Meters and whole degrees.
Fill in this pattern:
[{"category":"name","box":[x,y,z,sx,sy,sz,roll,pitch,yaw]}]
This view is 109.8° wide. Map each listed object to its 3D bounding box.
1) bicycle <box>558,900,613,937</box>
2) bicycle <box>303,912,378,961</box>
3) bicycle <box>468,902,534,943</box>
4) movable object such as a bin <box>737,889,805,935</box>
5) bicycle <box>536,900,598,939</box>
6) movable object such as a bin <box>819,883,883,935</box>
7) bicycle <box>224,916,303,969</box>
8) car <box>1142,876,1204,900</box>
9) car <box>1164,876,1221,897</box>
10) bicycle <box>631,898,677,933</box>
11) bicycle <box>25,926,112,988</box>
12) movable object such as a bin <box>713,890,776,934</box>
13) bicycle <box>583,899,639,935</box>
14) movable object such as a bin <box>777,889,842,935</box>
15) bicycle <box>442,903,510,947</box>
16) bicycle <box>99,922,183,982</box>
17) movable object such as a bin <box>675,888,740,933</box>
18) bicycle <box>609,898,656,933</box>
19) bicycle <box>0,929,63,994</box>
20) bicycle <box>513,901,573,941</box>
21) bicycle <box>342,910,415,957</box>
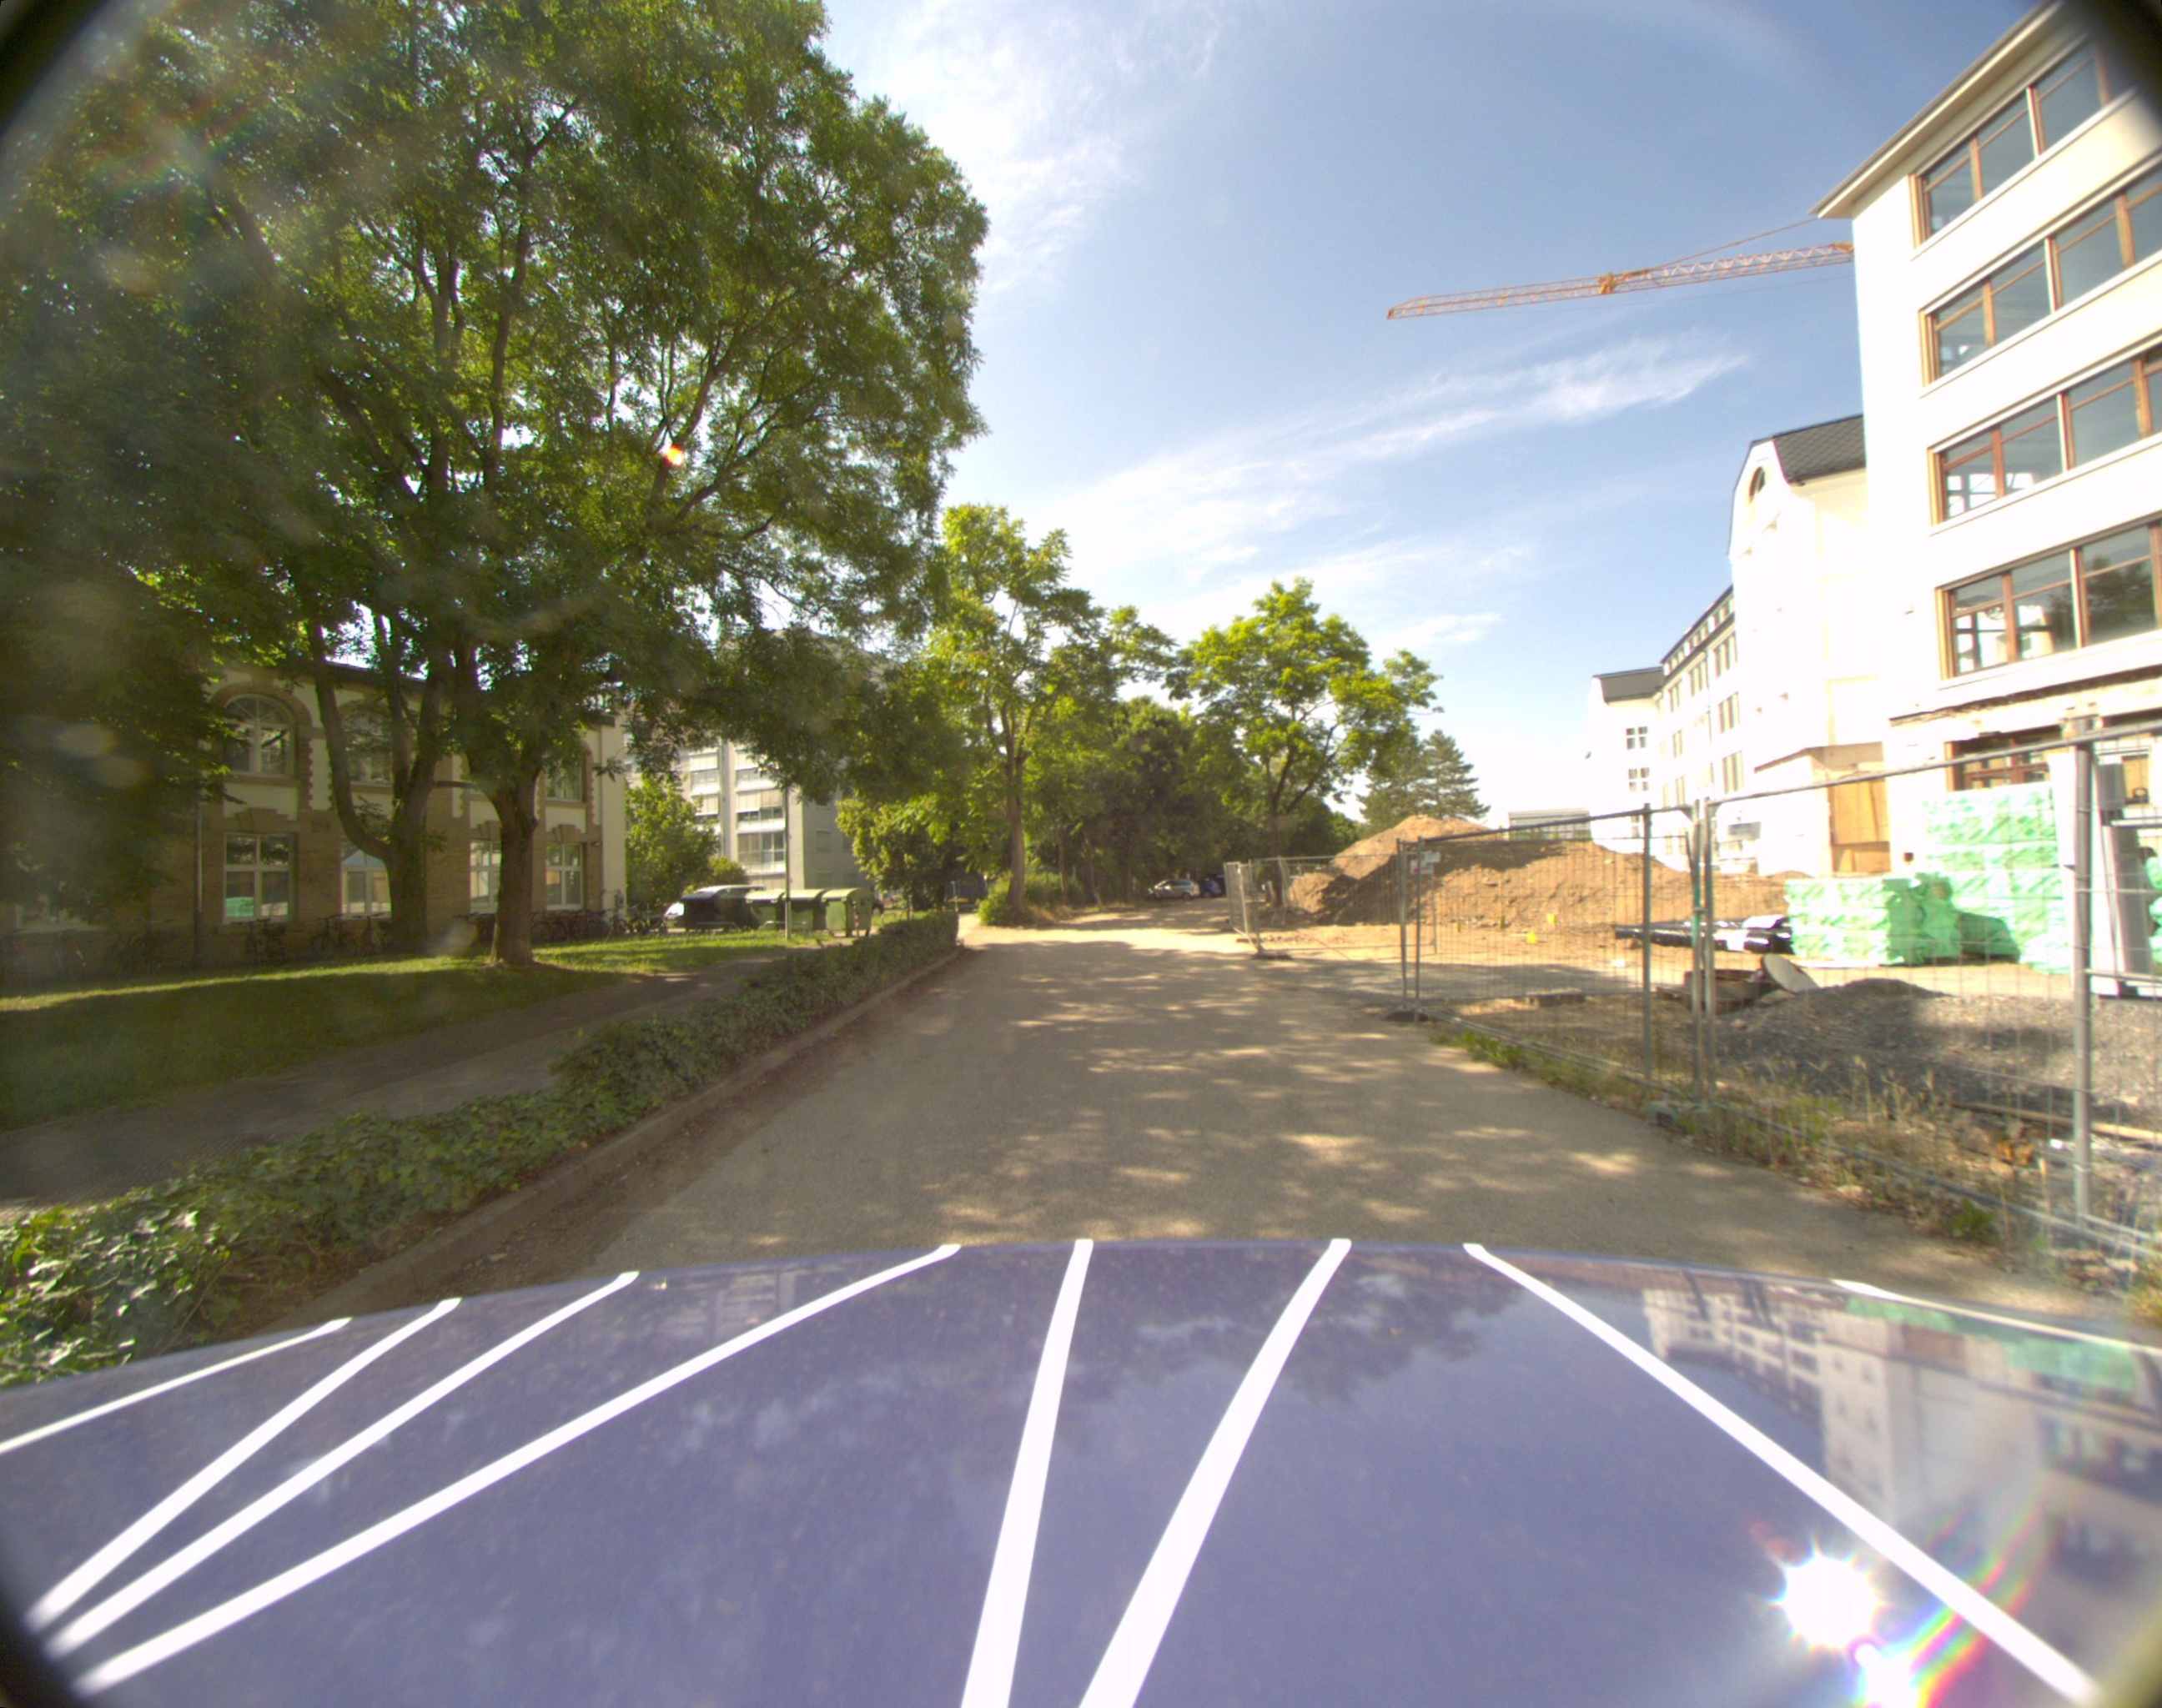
[{"category":"bicycle","box":[-15.903,2.073,24.381,1.909,1.154,0.495,-3,-1,24]},{"category":"bicycle","box":[-18.486,2.049,18.957,2.097,1.154,0.589,-3,-1,24]},{"category":"bicycle","box":[-16.959,1.999,22.202,2.097,1.154,0.589,-3,-1,24]},{"category":"movable object such as a bin","box":[-9.661,1.795,23.710,1.499,1.353,1.217,-2,-1,21]},{"category":"bicycle","box":[-16.160,2.063,23.866,2.097,1.154,0.589,-3,-1,24]},{"category":"movable object such as a bin","box":[-6.857,1.624,22.669,1.389,1.454,1.218,-3,-1,36]},{"category":"bicycle","box":[-19.085,2.054,17.729,2.097,1.154,0.589,-3,-1,24]},{"category":"car","box":[6.514,2.412,53.828,3.991,1.499,2.003,-2,-2,19]},{"category":"car","box":[8.631,2.516,58.791,3.991,1.433,2.003,-2,-2,19]},{"category":"bicycle","box":[-14.712,2.112,26.153,1.940,1.154,0.558,-3,-1,34]},{"category":"bicycle","box":[-20.364,2.043,15.273,2.097,1.154,0.589,-3,-1,24]},{"category":"movable object such as a bin","box":[-10.897,1.861,24.637,1.349,1.341,1.217,-2,-1,21]},{"category":"bicycle","box":[-15.592,2.088,25.188,1.847,1.154,0.614,-3,-1,24]},{"category":"movable object such as a bin","box":[-8.250,1.761,23.137,1.352,1.292,1.217,-2,-1,21]},{"category":"bicycle","box":[-17.185,2.010,21.568,2.097,1.154,0.589,-3,-1,24]},{"category":"bicycle","box":[-19.919,2.054,16.097,2.097,1.154,0.589,-3,-1,24]},{"category":"movable object such as a bin","box":[-12.370,1.858,25.184,1.433,1.401,1.252,-2,-1,20]},{"category":"bicycle","box":[-15.184,2.077,25.715,1.800,1.154,0.508,-3,-1,29]},{"category":"bicycle","box":[-20.509,2.045,14.654,2.097,1.154,0.589,-3,-1,24]},{"category":"bicycle","box":[-16.406,2.029,23.155,1.917,1.154,0.589,-3,-1,24]},{"category":"bicycle","box":[-18.197,2.055,19.678,2.097,1.154,0.589,-3,-1,24]}]
